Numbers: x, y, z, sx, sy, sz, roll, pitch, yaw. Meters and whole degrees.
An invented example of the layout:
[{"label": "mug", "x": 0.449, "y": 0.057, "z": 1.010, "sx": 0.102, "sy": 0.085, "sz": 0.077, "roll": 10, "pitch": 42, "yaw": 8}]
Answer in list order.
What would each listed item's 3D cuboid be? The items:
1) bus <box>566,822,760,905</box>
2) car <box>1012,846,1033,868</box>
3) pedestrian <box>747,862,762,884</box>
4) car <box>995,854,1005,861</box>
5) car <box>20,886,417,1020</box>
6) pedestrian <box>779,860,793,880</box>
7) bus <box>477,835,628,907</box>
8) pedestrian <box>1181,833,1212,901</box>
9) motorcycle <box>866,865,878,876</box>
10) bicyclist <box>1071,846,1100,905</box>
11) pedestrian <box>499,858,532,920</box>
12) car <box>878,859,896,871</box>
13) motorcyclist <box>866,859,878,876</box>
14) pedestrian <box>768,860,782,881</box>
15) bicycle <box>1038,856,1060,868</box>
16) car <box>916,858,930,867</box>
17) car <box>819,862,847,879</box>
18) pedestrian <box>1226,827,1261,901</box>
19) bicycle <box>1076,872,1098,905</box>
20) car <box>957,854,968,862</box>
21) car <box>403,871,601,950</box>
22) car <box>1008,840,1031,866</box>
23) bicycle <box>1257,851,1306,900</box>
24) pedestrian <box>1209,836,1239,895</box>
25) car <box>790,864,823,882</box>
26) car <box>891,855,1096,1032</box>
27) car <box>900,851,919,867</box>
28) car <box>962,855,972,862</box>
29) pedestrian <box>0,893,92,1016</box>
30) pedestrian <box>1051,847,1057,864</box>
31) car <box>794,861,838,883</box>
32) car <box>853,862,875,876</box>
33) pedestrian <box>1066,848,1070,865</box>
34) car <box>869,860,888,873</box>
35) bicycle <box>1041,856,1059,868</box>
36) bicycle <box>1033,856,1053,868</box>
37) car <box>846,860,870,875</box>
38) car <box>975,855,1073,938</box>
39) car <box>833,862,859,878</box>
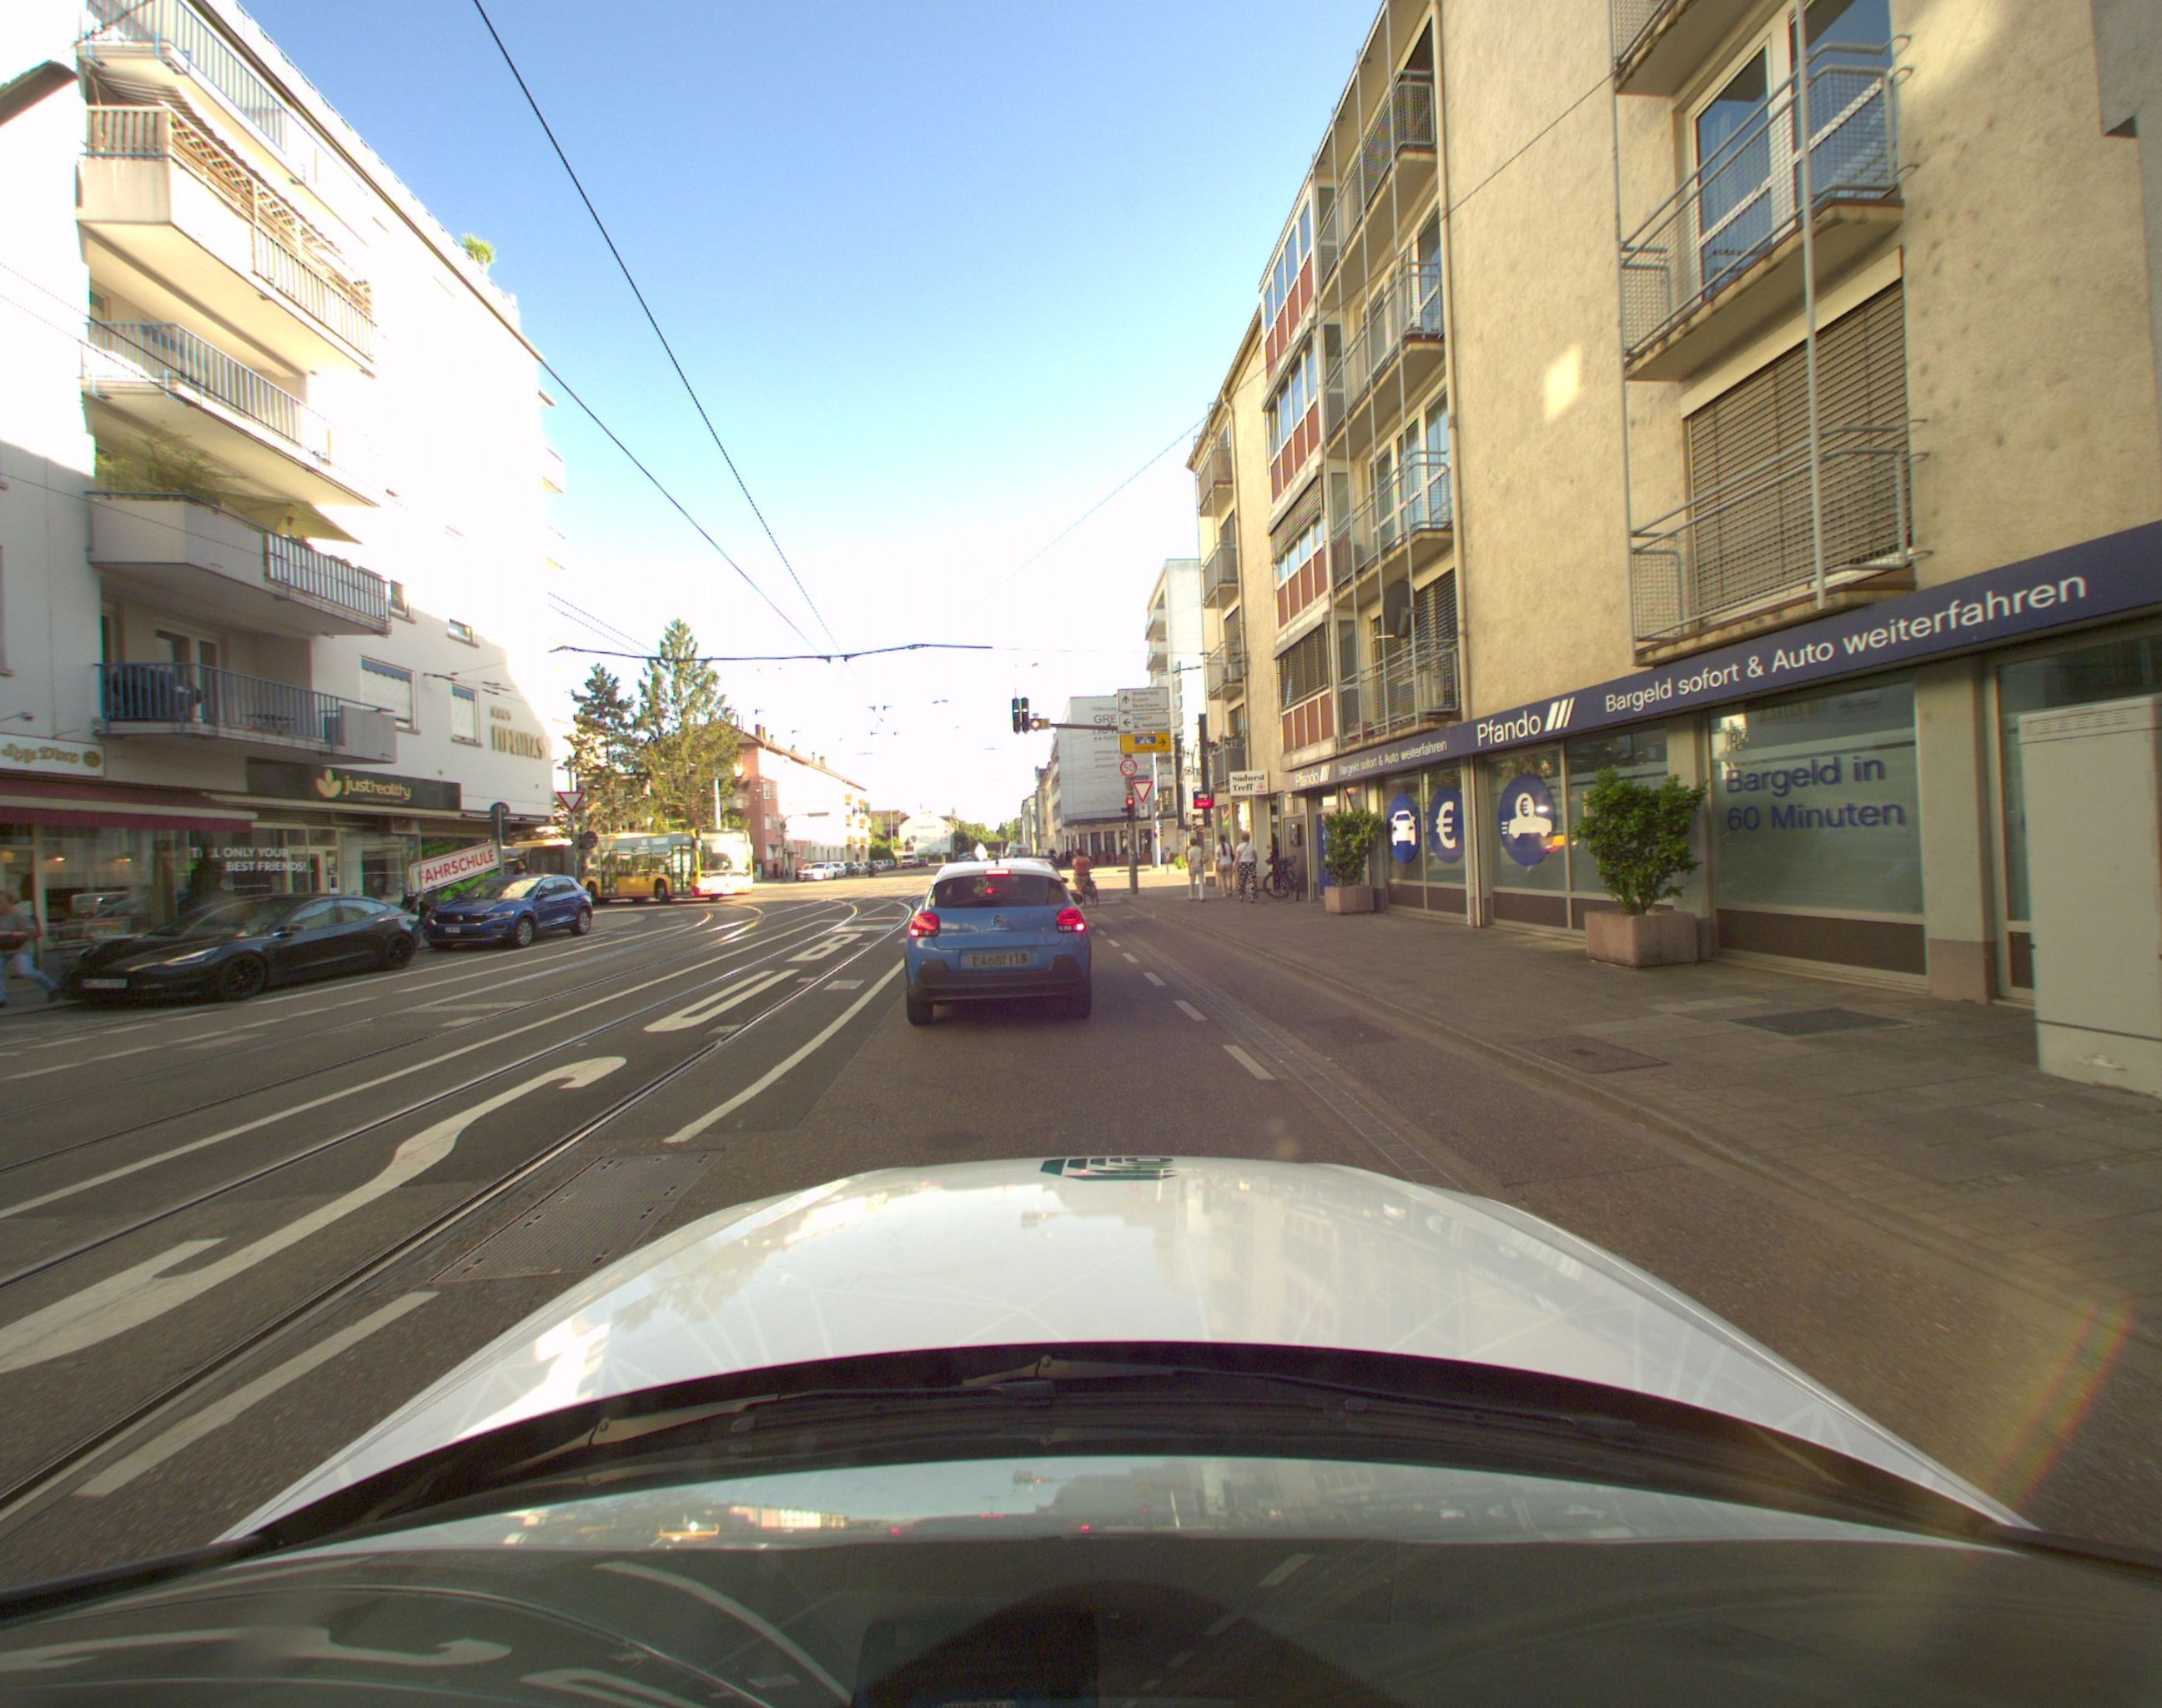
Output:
[{"label": "bus", "x": -18.312, "y": 0.489, "z": 35.296, "sx": 10.063, "sy": 3.158, "sz": 2.749, "roll": -2, "pitch": 0, "yaw": 33}, {"label": "car", "x": -5.121, "y": 0.264, "z": 70.521, "sx": 1.729, "sy": 1.750, "sz": 3.208, "roll": -2, "pitch": 0, "yaw": -5}, {"label": "pedestrian", "x": -25.793, "y": 1.476, "z": 64.308, "sx": 0.841, "sy": 1.690, "sz": 0.737, "roll": -2, "pitch": 0, "yaw": 0}, {"label": "car", "x": -16.154, "y": 0.625, "z": 162.047, "sx": 1.754, "sy": 1.259, "sz": 3.820, "roll": -2, "pitch": 0, "yaw": -9}, {"label": "car", "x": -12.694, "y": 1.336, "z": 12.497, "sx": 1.696, "sy": 1.509, "sz": 4.305, "roll": -1, "pitch": 0, "yaw": -4}, {"label": "pedestrian", "x": -25.187, "y": 1.372, "z": 69.466, "sx": 0.841, "sy": 1.690, "sz": 0.737, "roll": -2, "pitch": 0, "yaw": 0}, {"label": "bus", "x": -25.870, "y": 0.867, "z": 39.782, "sx": 7.482, "sy": 3.161, "sz": 2.763, "roll": -3, "pitch": 0, "yaw": 28}, {"label": "pedestrian", "x": 2.920, "y": 0.316, "z": 20.594, "sx": 0.540, "sy": 1.672, "sz": 0.623, "roll": -5, "pitch": 2, "yaw": -4}, {"label": "motorcycle", "x": -17.871, "y": 1.410, "z": 69.754, "sx": 0.614, "sy": 0.864, "sz": 1.670, "roll": -3, "pitch": 0, "yaw": -2}, {"label": "bicyclist", "x": 0.126, "y": 0.618, "z": 23.488, "sx": 0.724, "sy": 1.646, "sz": 0.789, "roll": -3, "pitch": 0, "yaw": -2}, {"label": "pedestrian", "x": -19.027, "y": 1.162, "z": 27.418, "sx": 0.686, "sy": 2.013, "sz": 0.485, "roll": -2, "pitch": 0, "yaw": -8}, {"label": "car", "x": -28.108, "y": 1.619, "z": 118.230, "sx": 1.867, "sy": 1.574, "sz": 3.993, "roll": -2, "pitch": 0, "yaw": -5}, {"label": "motorcyclist", "x": -17.869, "y": 1.123, "z": 69.600, "sx": 0.717, "sy": 1.377, "sz": 0.911, "roll": -3, "pitch": 0, "yaw": -2}, {"label": "pedestrian", "x": -26.060, "y": 1.398, "z": 69.321, "sx": 0.841, "sy": 1.690, "sz": 0.737, "roll": -2, "pitch": 0, "yaw": 0}, {"label": "bicycle", "x": -2.759, "y": 0.685, "z": 70.140, "sx": 1.868, "sy": 0.957, "sz": 0.701, "roll": -3, "pitch": 0, "yaw": -1}, {"label": "car", "x": -28.521, "y": 1.501, "z": 146.732, "sx": 2.019, "sy": 1.525, "sz": 3.992, "roll": -2, "pitch": 0, "yaw": -6}, {"label": "car", "x": -24.731, "y": 1.627, "z": 81.376, "sx": 1.909, "sy": 1.497, "sz": 3.992, "roll": -3, "pitch": 0, "yaw": -6}, {"label": "pedestrian", "x": 3.844, "y": 0.238, "z": 19.237, "sx": 0.540, "sy": 1.672, "sz": 0.649, "roll": -5, "pitch": 0, "yaw": -4}, {"label": "bicycle", "x": 0.166, "y": 1.000, "z": 23.915, "sx": 0.498, "sy": 0.864, "sz": 1.746, "roll": -3, "pitch": 0, "yaw": -4}, {"label": "car", "x": -24.936, "y": 0.877, "z": 171.609, "sx": 2.019, "sy": 1.525, "sz": 3.992, "roll": -2, "pitch": 0, "yaw": -6}, {"label": "car", "x": -12.952, "y": 1.189, "z": 18.562, "sx": 1.740, "sy": 1.509, "sz": 3.996, "roll": -1, "pitch": 0, "yaw": -2}, {"label": "car", "x": -5.716, "y": -0.058, "z": 75.413, "sx": 1.990, "sy": 2.325, "sz": 3.993, "roll": -2, "pitch": 0, "yaw": -5}, {"label": "bicycle", "x": 4.688, "y": 0.475, "z": 19.130, "sx": 0.529, "sy": 1.072, "sz": 1.807, "roll": -3, "pitch": 0, "yaw": -5}, {"label": "pedestrian", "x": 3.786, "y": 0.292, "z": 21.565, "sx": 0.540, "sy": 1.507, "sz": 0.610, "roll": -5, "pitch": 2, "yaw": -4}, {"label": "car", "x": -23.915, "y": 1.646, "z": 71.057, "sx": 1.909, "sy": 1.433, "sz": 3.990, "roll": -3, "pitch": 0, "yaw": -7}, {"label": "car", "x": -1.006, "y": 0.760, "z": 9.032, "sx": 1.743, "sy": 1.462, "sz": 3.989, "roll": -1, "pitch": 0, "yaw": -8}, {"label": "car", "x": -25.514, "y": 0.661, "z": 121.503, "sx": 2.204, "sy": 2.251, "sz": 4.667, "roll": -3, "pitch": 0, "yaw": -6}, {"label": "car", "x": -26.489, "y": 1.054, "z": 189.106, "sx": 2.019, "sy": 1.525, "sz": 3.992, "roll": -3, "pitch": 0, "yaw": -6}, {"label": "pedestrian", "x": -14.096, "y": 1.330, "z": 10.919, "sx": 0.695, "sy": 1.548, "sz": 0.721, "roll": -3, "pitch": 1, "yaw": -2}, {"label": "pedestrian", "x": -2.512, "y": 0.119, "z": 75.504, "sx": 0.491, "sy": 1.556, "sz": 0.383, "roll": -3, "pitch": 0, "yaw": -5}, {"label": "car", "x": -20.925, "y": 1.386, "z": 64.555, "sx": 1.842, "sy": 1.574, "sz": 4.404, "roll": -2, "pitch": 0, "yaw": 2}, {"label": "car", "x": -26.534, "y": 1.855, "z": 99.796, "sx": 1.909, "sy": 1.497, "sz": 3.992, "roll": -3, "pitch": 0, "yaw": -6}, {"label": "pedestrian", "x": -1.178, "y": 0.200, "z": 73.298, "sx": 0.284, "sy": 1.556, "sz": 0.304, "roll": -3, "pitch": 0, "yaw": -11}, {"label": "car", "x": -26.881, "y": 1.621, "z": 108.188, "sx": 1.909, "sy": 1.497, "sz": 3.992, "roll": -3, "pitch": 0, "yaw": -6}, {"label": "bicycle", "x": -2.635, "y": 0.681, "z": 69.085, "sx": 1.499, "sy": 0.957, "sz": 0.701, "roll": -3, "pitch": 0, "yaw": -1}, {"label": "bicycle", "x": -3.324, "y": 0.706, "z": 71.476, "sx": 1.715, "sy": 0.957, "sz": 0.701, "roll": -3, "pitch": 0, "yaw": -1}, {"label": "car", "x": -25.776, "y": 1.561, "z": 94.255, "sx": 1.909, "sy": 1.497, "sz": 3.992, "roll": -3, "pitch": 0, "yaw": -6}, {"label": "car", "x": -1.101, "y": 0.769, "z": 16.885, "sx": 1.734, "sy": 1.420, "sz": 3.997, "roll": -2, "pitch": 0, "yaw": -2}, {"label": "car", "x": -25.386, "y": 1.713, "z": 88.132, "sx": 1.909, "sy": 1.497, "sz": 3.992, "roll": -3, "pitch": 0, "yaw": -6}]
